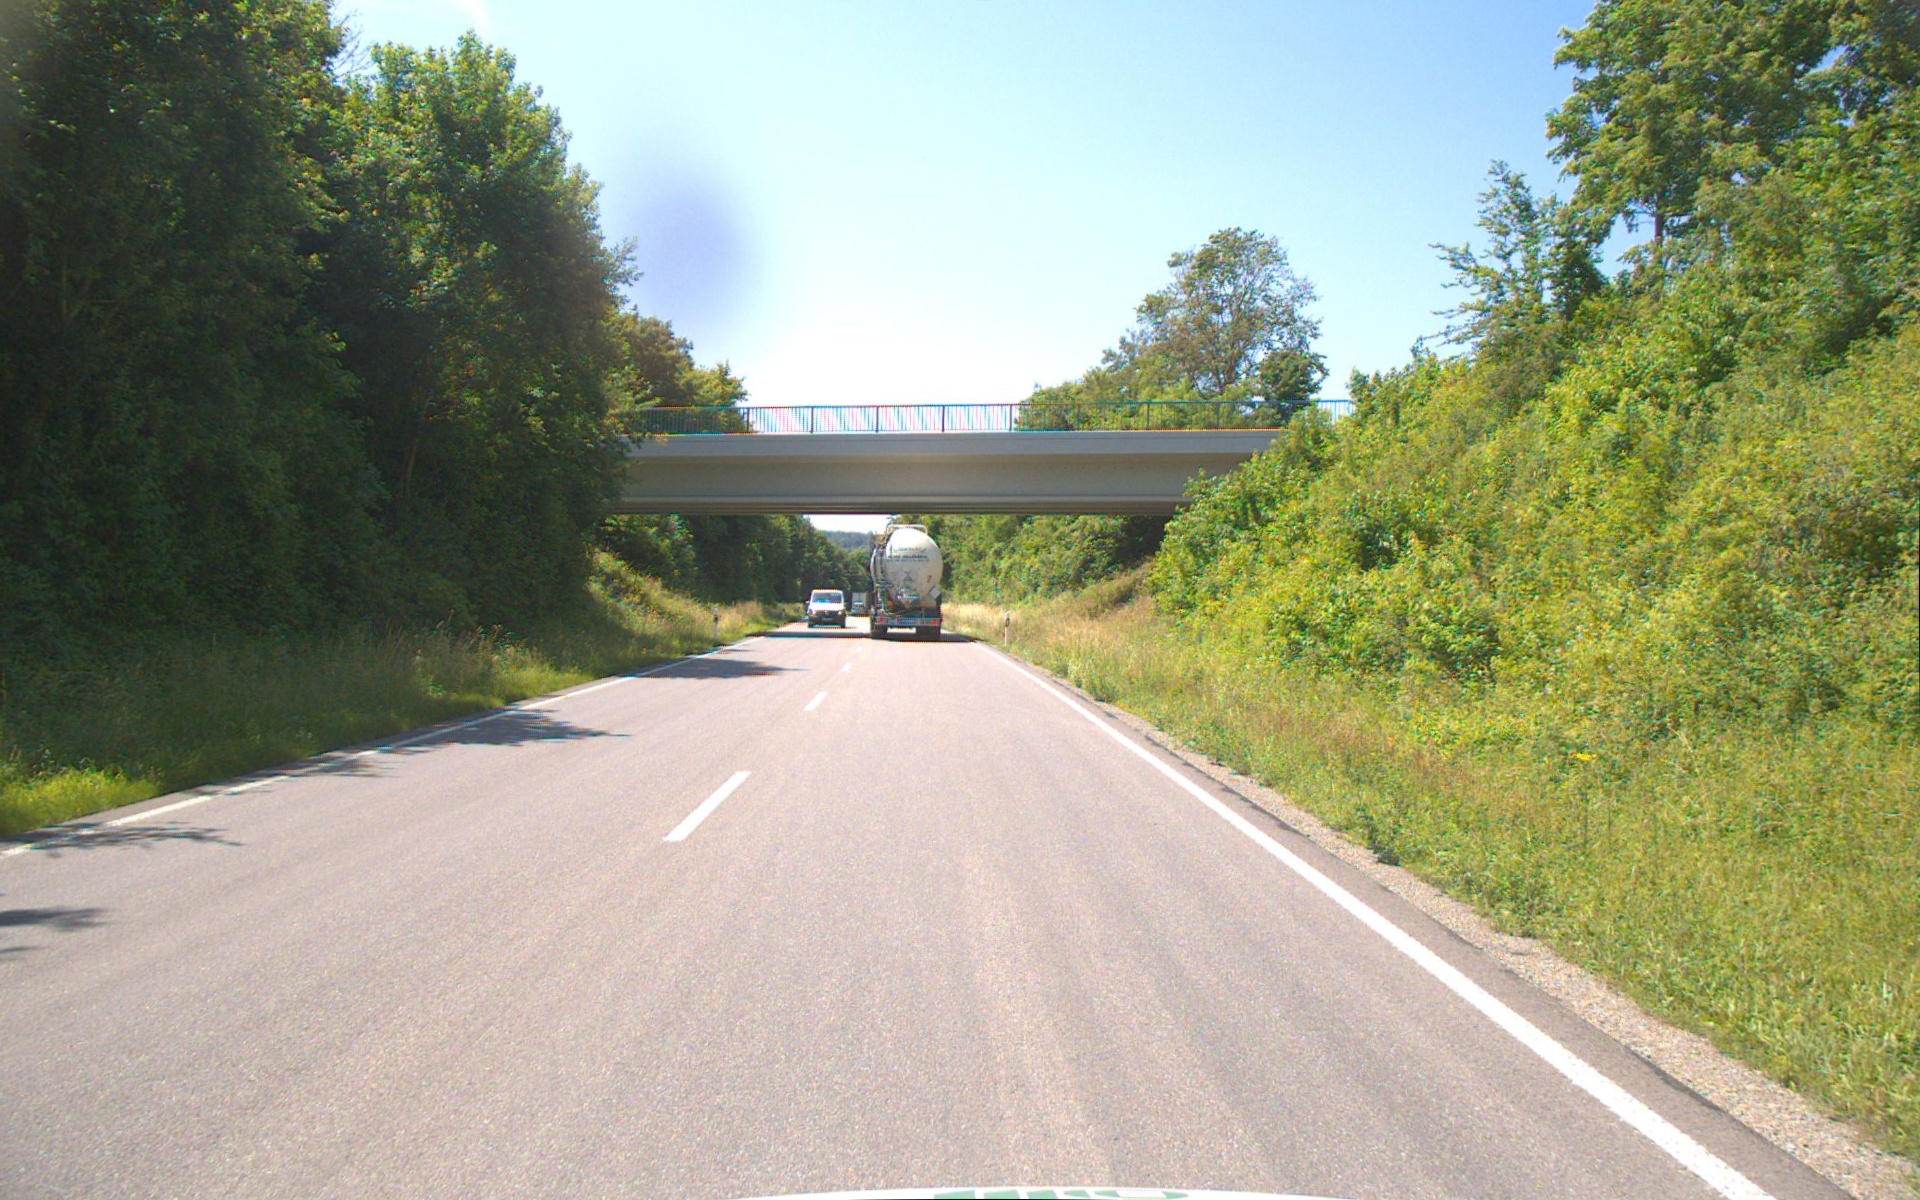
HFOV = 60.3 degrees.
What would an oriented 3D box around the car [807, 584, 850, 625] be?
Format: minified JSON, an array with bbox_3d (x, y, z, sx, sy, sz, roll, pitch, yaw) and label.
[{"bbox_3d":[-6.541,0.209,82.714,1.893,1.939,5.325,1,0,-2],"label":"car"}]

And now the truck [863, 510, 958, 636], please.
[{"bbox_3d":[-1.878,-0.771,63.510,2.988,4.068,15.629,3,-1,-2],"label":"truck"}]

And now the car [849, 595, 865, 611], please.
[{"bbox_3d":[-13.085,0.373,209.582,1.954,2.049,3.996,1,0,-5],"label":"car"}]
